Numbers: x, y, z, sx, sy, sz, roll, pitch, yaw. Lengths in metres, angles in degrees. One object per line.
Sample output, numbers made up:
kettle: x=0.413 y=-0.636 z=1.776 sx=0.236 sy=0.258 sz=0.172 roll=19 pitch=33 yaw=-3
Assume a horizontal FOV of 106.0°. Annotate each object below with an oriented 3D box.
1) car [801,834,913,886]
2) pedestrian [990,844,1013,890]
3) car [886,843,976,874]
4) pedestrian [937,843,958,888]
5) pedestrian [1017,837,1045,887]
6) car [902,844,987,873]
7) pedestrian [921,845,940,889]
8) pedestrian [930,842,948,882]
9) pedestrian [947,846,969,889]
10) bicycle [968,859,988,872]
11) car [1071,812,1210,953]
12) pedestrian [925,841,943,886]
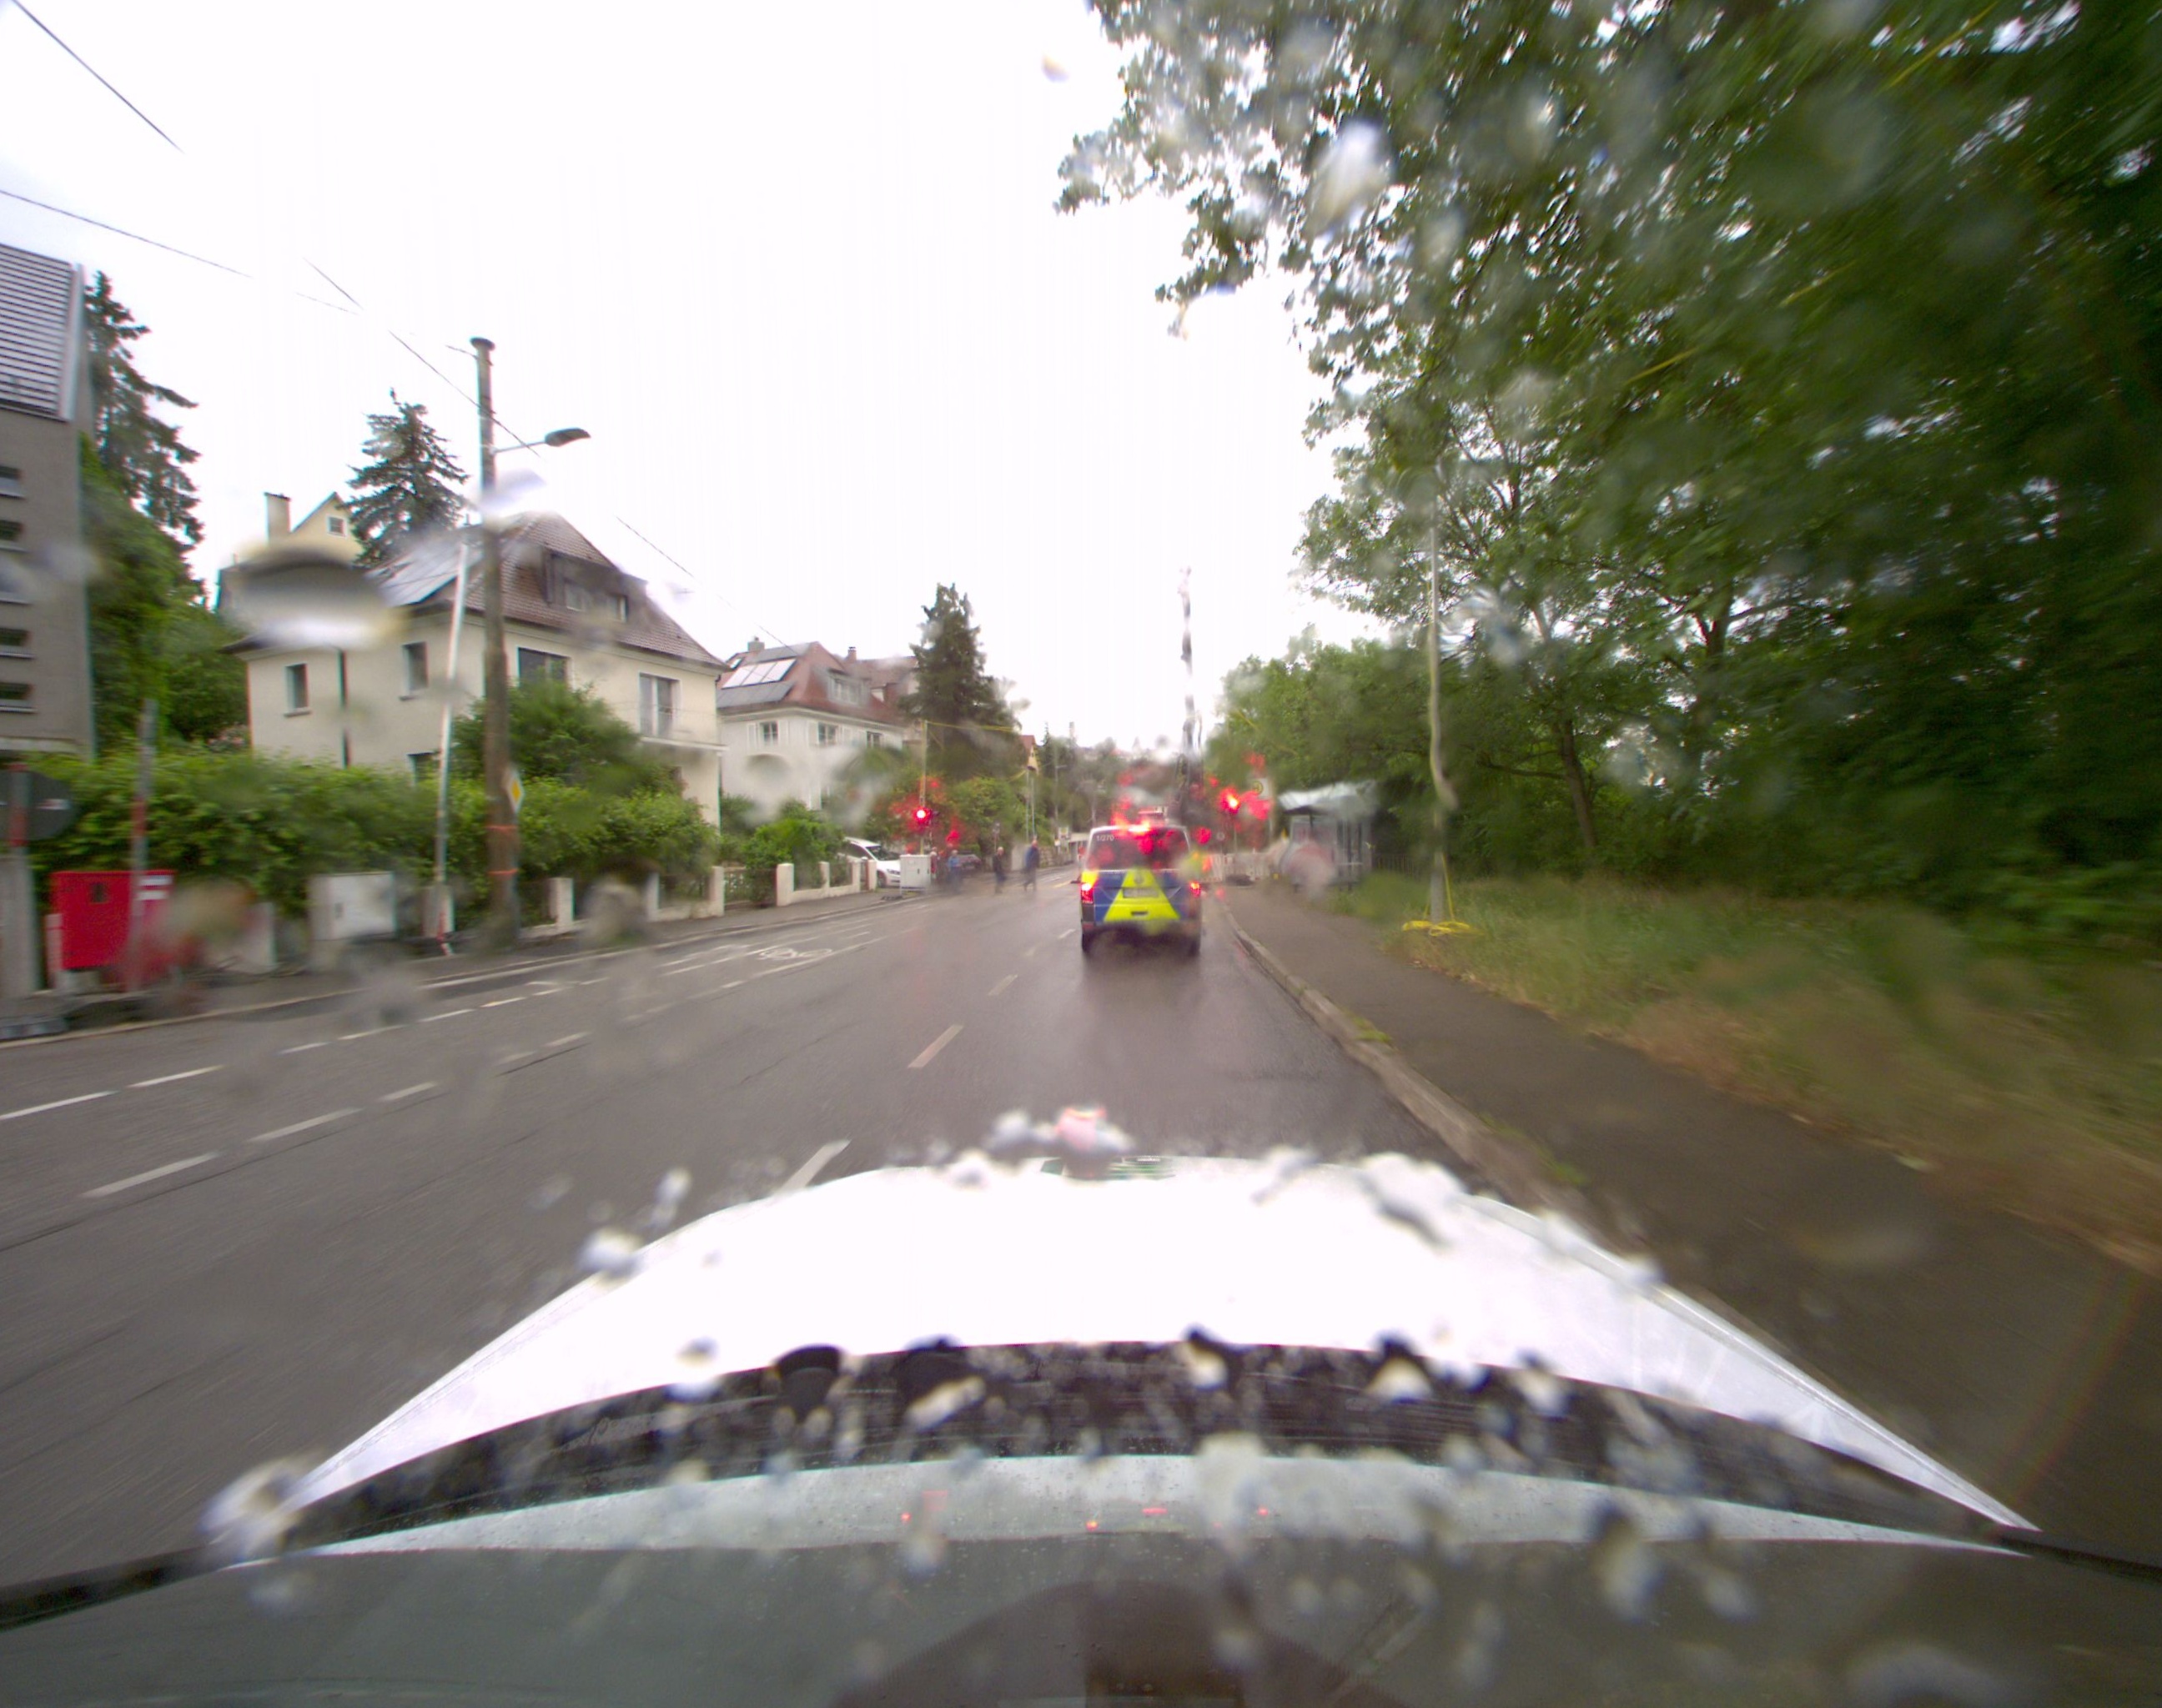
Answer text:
car: x=-9.035 y=0.236 z=32.945 sx=3.958 sy=2.013 sz=1.837 roll=-1 pitch=0 yaw=14
pedestrian: x=-2.826 y=0.457 z=28.995 sx=0.683 sy=1.604 sz=0.606 roll=0 pitch=-2 yaw=2
car: x=-7.409 y=0.236 z=40.328 sx=3.959 sy=1.486 sz=1.766 roll=0 pitch=-2 yaw=14
pedestrian: x=-5.141 y=0.443 z=31.432 sx=0.623 sy=1.715 sz=0.593 roll=0 pitch=-2 yaw=5
pedestrian: x=-1.803 y=0.287 z=29.352 sx=0.886 sy=1.787 sz=0.829 roll=0 pitch=-2 yaw=2
car: x=-7.102 y=0.249 z=42.467 sx=3.959 sy=1.486 sz=1.766 roll=0 pitch=-2 yaw=14
pedestrian: x=-5.452 y=0.467 z=29.527 sx=0.560 sy=1.582 sz=0.469 roll=0 pitch=-2 yaw=5
pedestrian: x=-5.348 y=0.314 z=30.704 sx=0.523 sy=1.507 sz=0.430 roll=0 pitch=-2 yaw=5
pedestrian: x=-4.414 y=0.494 z=29.243 sx=0.623 sy=1.522 sz=0.593 roll=0 pitch=-2 yaw=5
bicycle: x=-5.721 y=0.640 z=45.336 sx=1.046 sy=0.662 sz=0.321 roll=0 pitch=-2 yaw=13
car: x=1.009 y=0.359 z=13.901 sx=1.985 sy=2.013 sz=4.407 roll=0 pitch=1 yaw=4
pedestrian: x=-5.431 y=0.347 z=30.154 sx=0.546 sy=1.668 sz=0.414 roll=0 pitch=-2 yaw=5
